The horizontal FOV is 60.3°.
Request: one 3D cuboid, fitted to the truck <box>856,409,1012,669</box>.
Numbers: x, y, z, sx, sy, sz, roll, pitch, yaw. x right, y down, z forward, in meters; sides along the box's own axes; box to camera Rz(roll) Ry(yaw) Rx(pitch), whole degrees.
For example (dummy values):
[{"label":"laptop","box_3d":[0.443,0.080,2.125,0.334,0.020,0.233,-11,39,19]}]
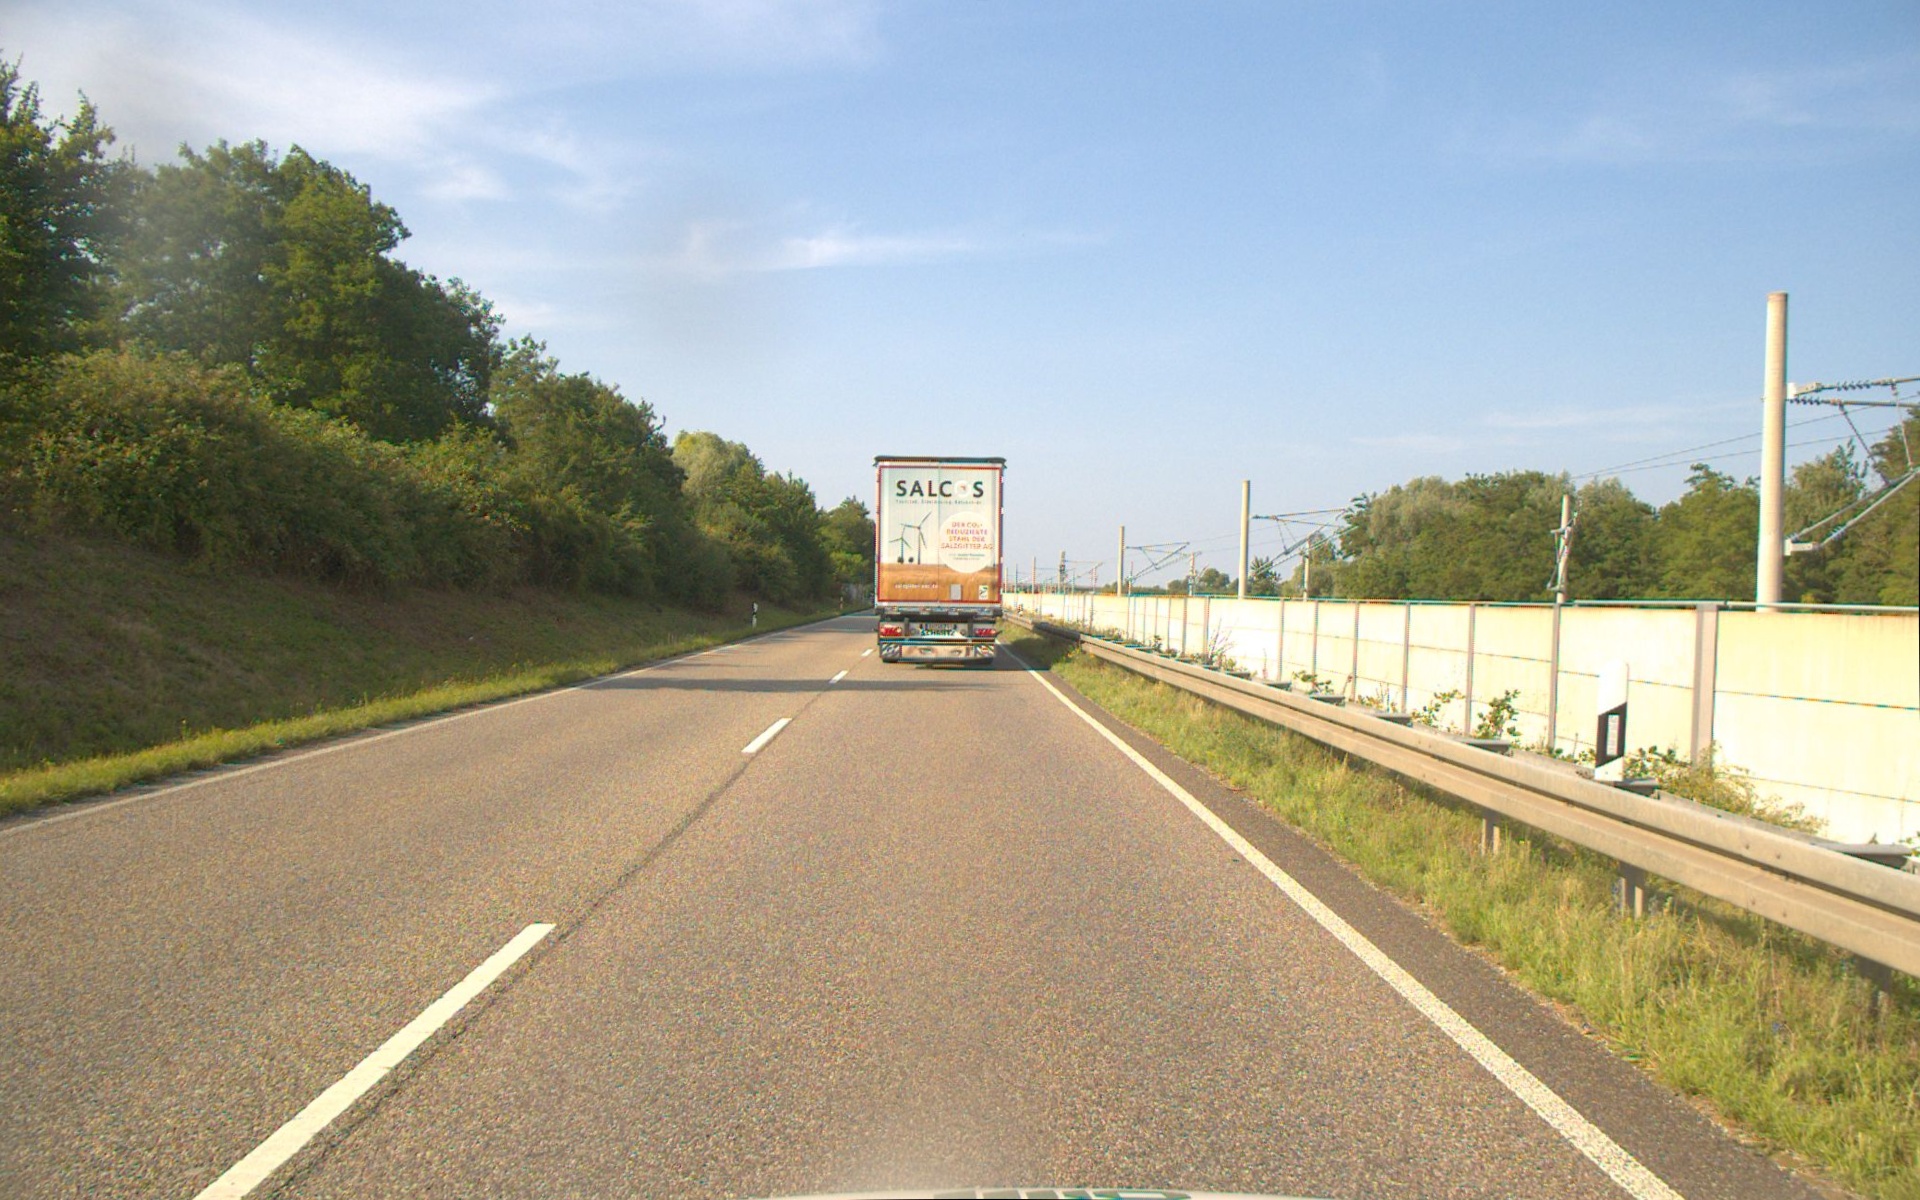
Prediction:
[{"label":"truck","box_3d":[-0.691,-1.232,38.090,2.972,5.006,11.680,1,0,-2]}]
